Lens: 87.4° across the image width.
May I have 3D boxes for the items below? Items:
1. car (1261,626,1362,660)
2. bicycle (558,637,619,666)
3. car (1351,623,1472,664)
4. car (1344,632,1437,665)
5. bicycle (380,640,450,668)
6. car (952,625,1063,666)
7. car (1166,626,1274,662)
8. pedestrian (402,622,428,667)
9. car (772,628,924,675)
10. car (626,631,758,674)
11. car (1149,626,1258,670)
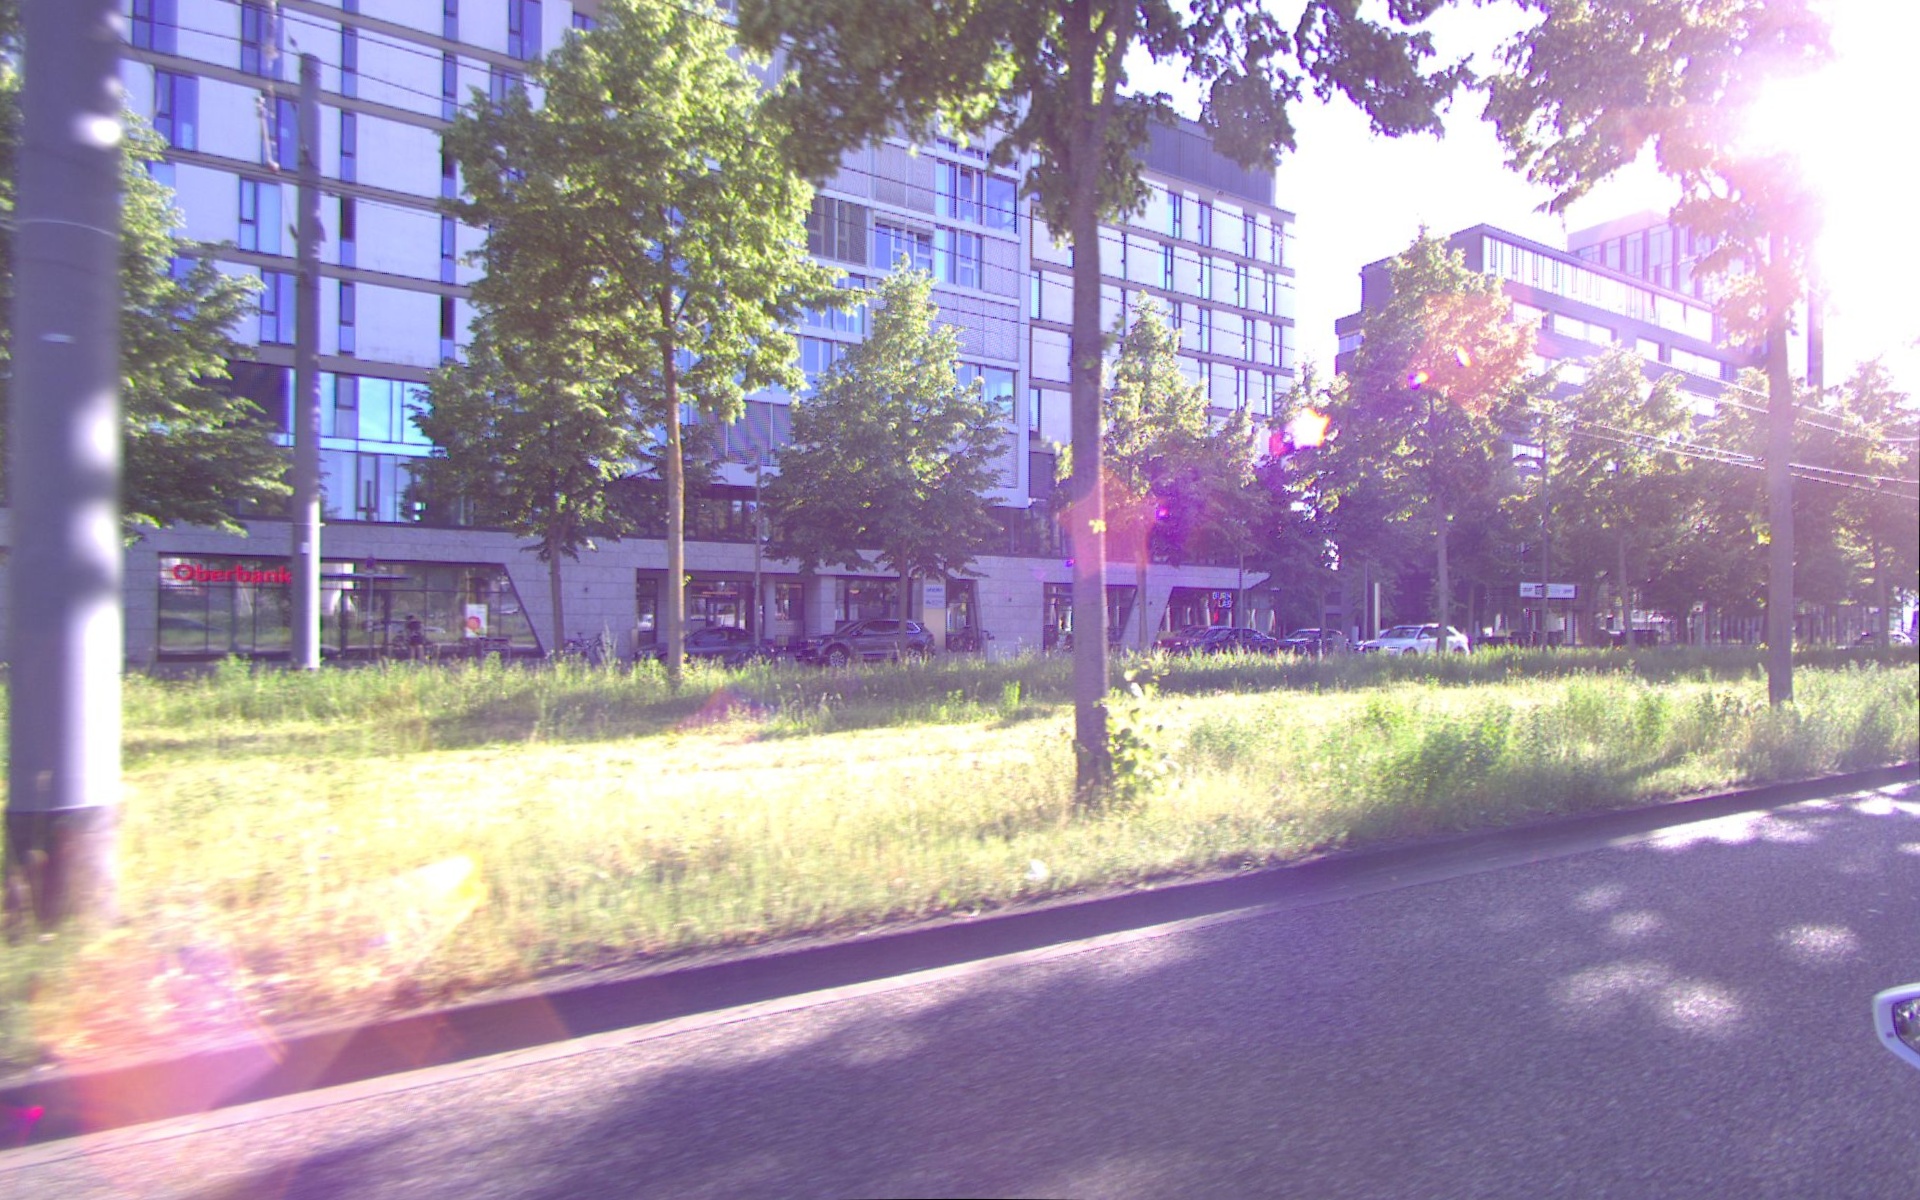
[{"bbox_3d":[15.694,1.890,44.763,4.489,1.439,1.708,1,-1,-29],"label":"car"},{"bbox_3d":[-13.211,1.836,35.747,1.960,0.985,0.539,3,-2,-31],"label":"bicycle"},{"bbox_3d":[15.950,1.504,35.415,4.261,1.309,1.789,0,-2,-31],"label":"car"},{"bbox_3d":[20.337,2.263,47.394,4.491,1.439,1.707,1,-1,-30],"label":"car"},{"bbox_3d":[-17.847,1.767,32.897,1.991,0.892,0.539,2,-1,-31],"label":"bicycle"},{"bbox_3d":[1.723,1.617,36.190,3.710,1.372,1.725,1,-1,-31],"label":"car"},{"bbox_3d":[10.883,1.810,41.925,4.491,1.439,1.707,1,-1,-30],"label":"car"},{"bbox_3d":[-17.619,1.428,32.472,0.682,1.431,0.406,2,-2,-30],"label":"pedestrian"},{"bbox_3d":[-3.648,1.647,33.166,4.749,1.438,1.660,1,-1,-31],"label":"car"},{"bbox_3d":[-8.095,1.550,30.409,3.542,1.223,1.660,1,-1,-31],"label":"car"},{"bbox_3d":[11.201,2.160,46.030,5.069,1.801,1.789,0,0,-31],"label":"car"}]
